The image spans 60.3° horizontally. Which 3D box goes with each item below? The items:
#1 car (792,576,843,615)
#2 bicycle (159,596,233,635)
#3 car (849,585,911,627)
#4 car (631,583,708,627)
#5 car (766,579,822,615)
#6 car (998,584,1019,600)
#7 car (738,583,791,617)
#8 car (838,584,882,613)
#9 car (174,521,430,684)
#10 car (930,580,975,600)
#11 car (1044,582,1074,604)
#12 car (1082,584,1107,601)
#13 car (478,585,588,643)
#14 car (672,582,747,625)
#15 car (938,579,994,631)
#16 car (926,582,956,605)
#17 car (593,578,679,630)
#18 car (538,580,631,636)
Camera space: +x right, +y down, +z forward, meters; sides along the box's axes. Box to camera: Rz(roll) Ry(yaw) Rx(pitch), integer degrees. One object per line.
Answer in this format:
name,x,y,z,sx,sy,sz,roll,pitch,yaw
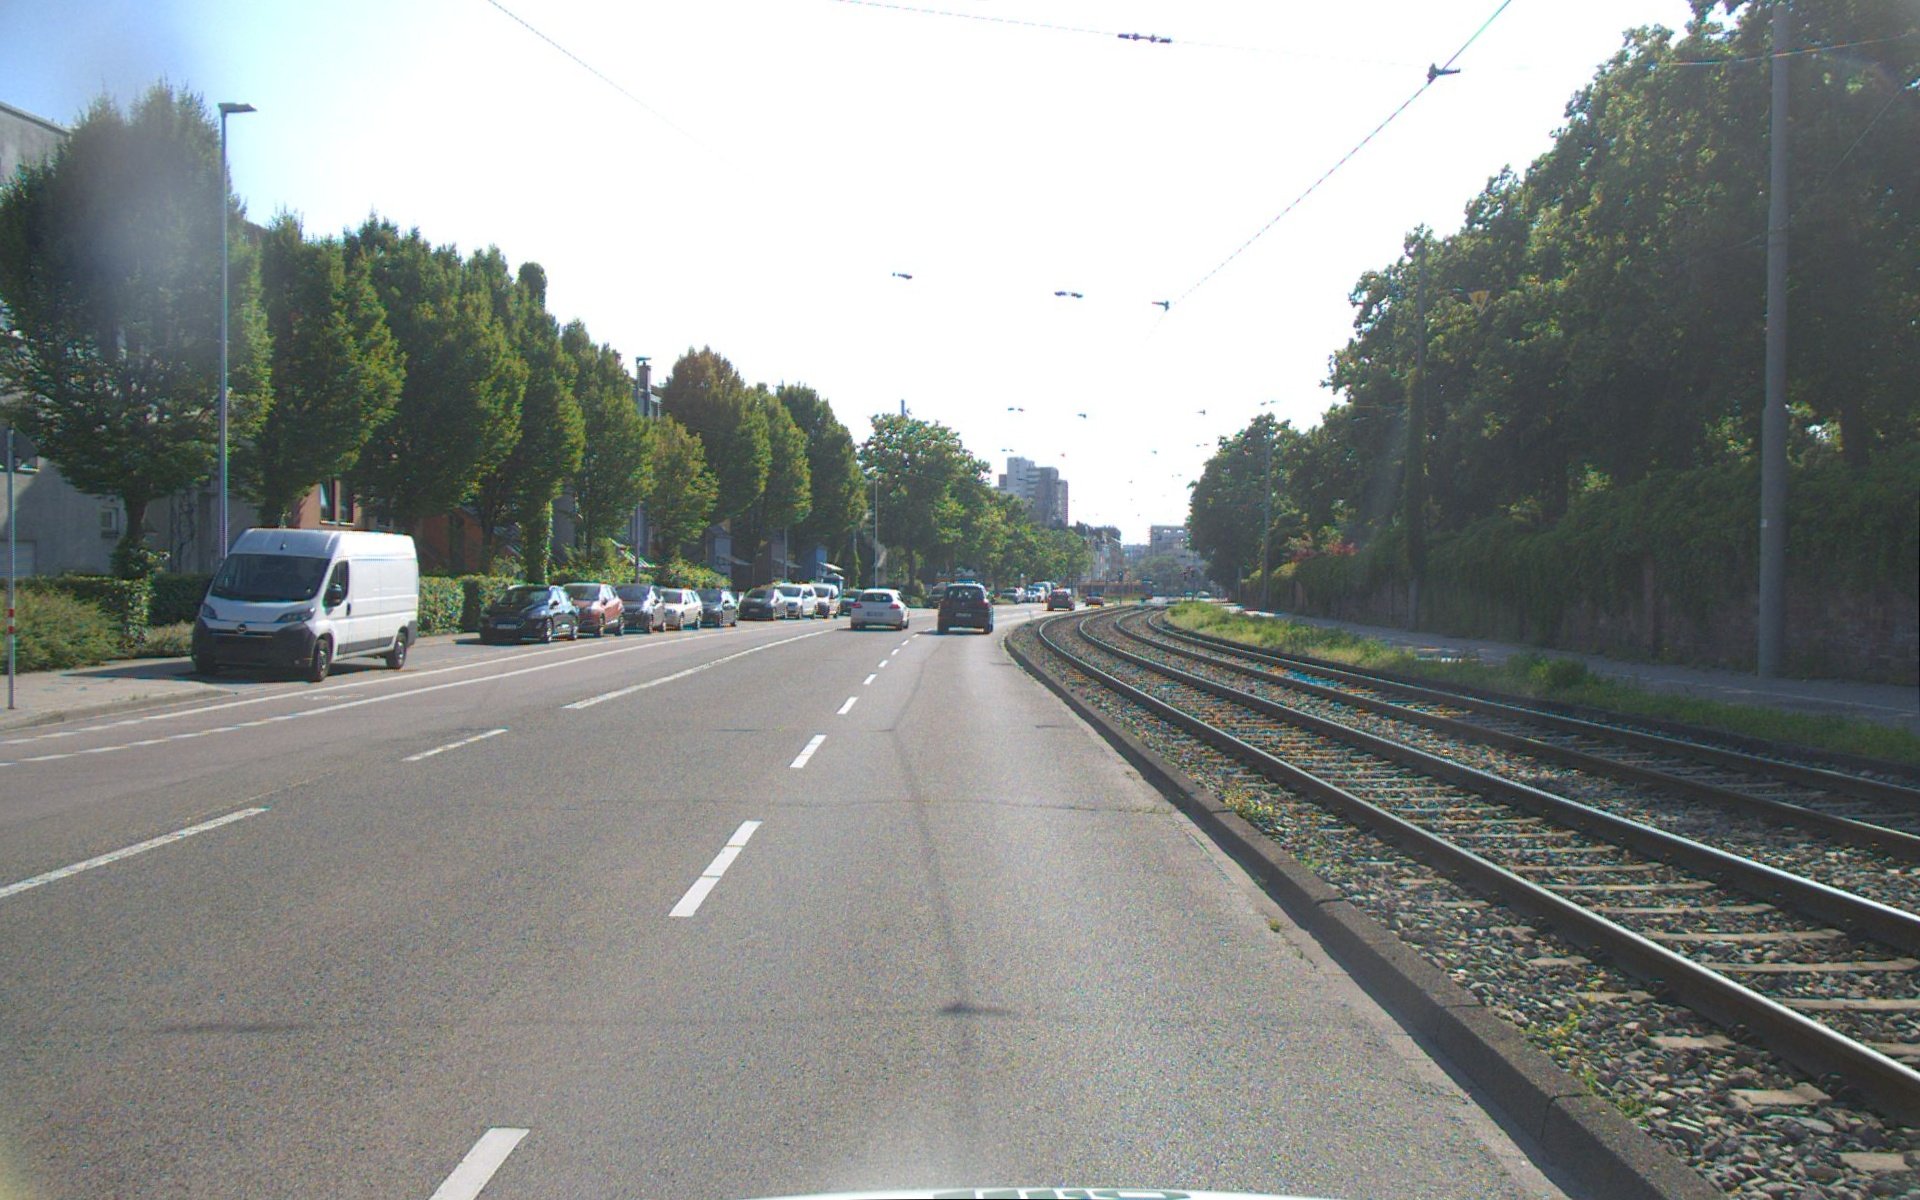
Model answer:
car,-7.665,-0.250,89.644,1.726,1.877,4.584,5,1,7
bicycle,-19.761,0.395,42.788,1.647,0.994,0.643,1,1,8
car,-2.744,0.195,57.436,1.826,1.371,4.001,1,1,2
car,-10.651,0.179,60.932,1.676,1.497,4.846,2,0,3
car,-8.352,-0.161,83.449,1.633,1.730,4.828,2,1,8
car,5.251,-0.896,179.239,1.695,1.687,4.004,0,0,10
car,-9.201,-0.009,78.122,1.582,1.491,4.061,2,1,6
car,-6.015,-0.123,99.499,1.726,1.565,3.984,5,1,9
car,-11.443,0.004,29.376,2.109,2.500,6.182,2,1,-1
car,-0.921,-1.253,203.524,5.260,2.466,2.089,0,0,9
car,7.019,-0.500,117.253,1.773,1.474,4.003,2,1,8
car,12.449,-0.680,153.002,1.773,1.474,4.004,2,1,12
car,-11.336,0.326,44.232,1.618,1.449,4.714,0,1,1
car,-10.066,0.111,66.793,1.827,1.571,4.913,2,1,5
car,0.228,0.157,56.176,1.774,1.673,4.001,1,0,2
car,-1.512,-0.533,131.026,1.675,1.723,4.426,0,1,9
car,-10.846,0.117,55.652,1.725,1.601,4.301,2,0,4
car,-11.212,0.236,49.684,1.726,1.601,4.163,0,0,2
